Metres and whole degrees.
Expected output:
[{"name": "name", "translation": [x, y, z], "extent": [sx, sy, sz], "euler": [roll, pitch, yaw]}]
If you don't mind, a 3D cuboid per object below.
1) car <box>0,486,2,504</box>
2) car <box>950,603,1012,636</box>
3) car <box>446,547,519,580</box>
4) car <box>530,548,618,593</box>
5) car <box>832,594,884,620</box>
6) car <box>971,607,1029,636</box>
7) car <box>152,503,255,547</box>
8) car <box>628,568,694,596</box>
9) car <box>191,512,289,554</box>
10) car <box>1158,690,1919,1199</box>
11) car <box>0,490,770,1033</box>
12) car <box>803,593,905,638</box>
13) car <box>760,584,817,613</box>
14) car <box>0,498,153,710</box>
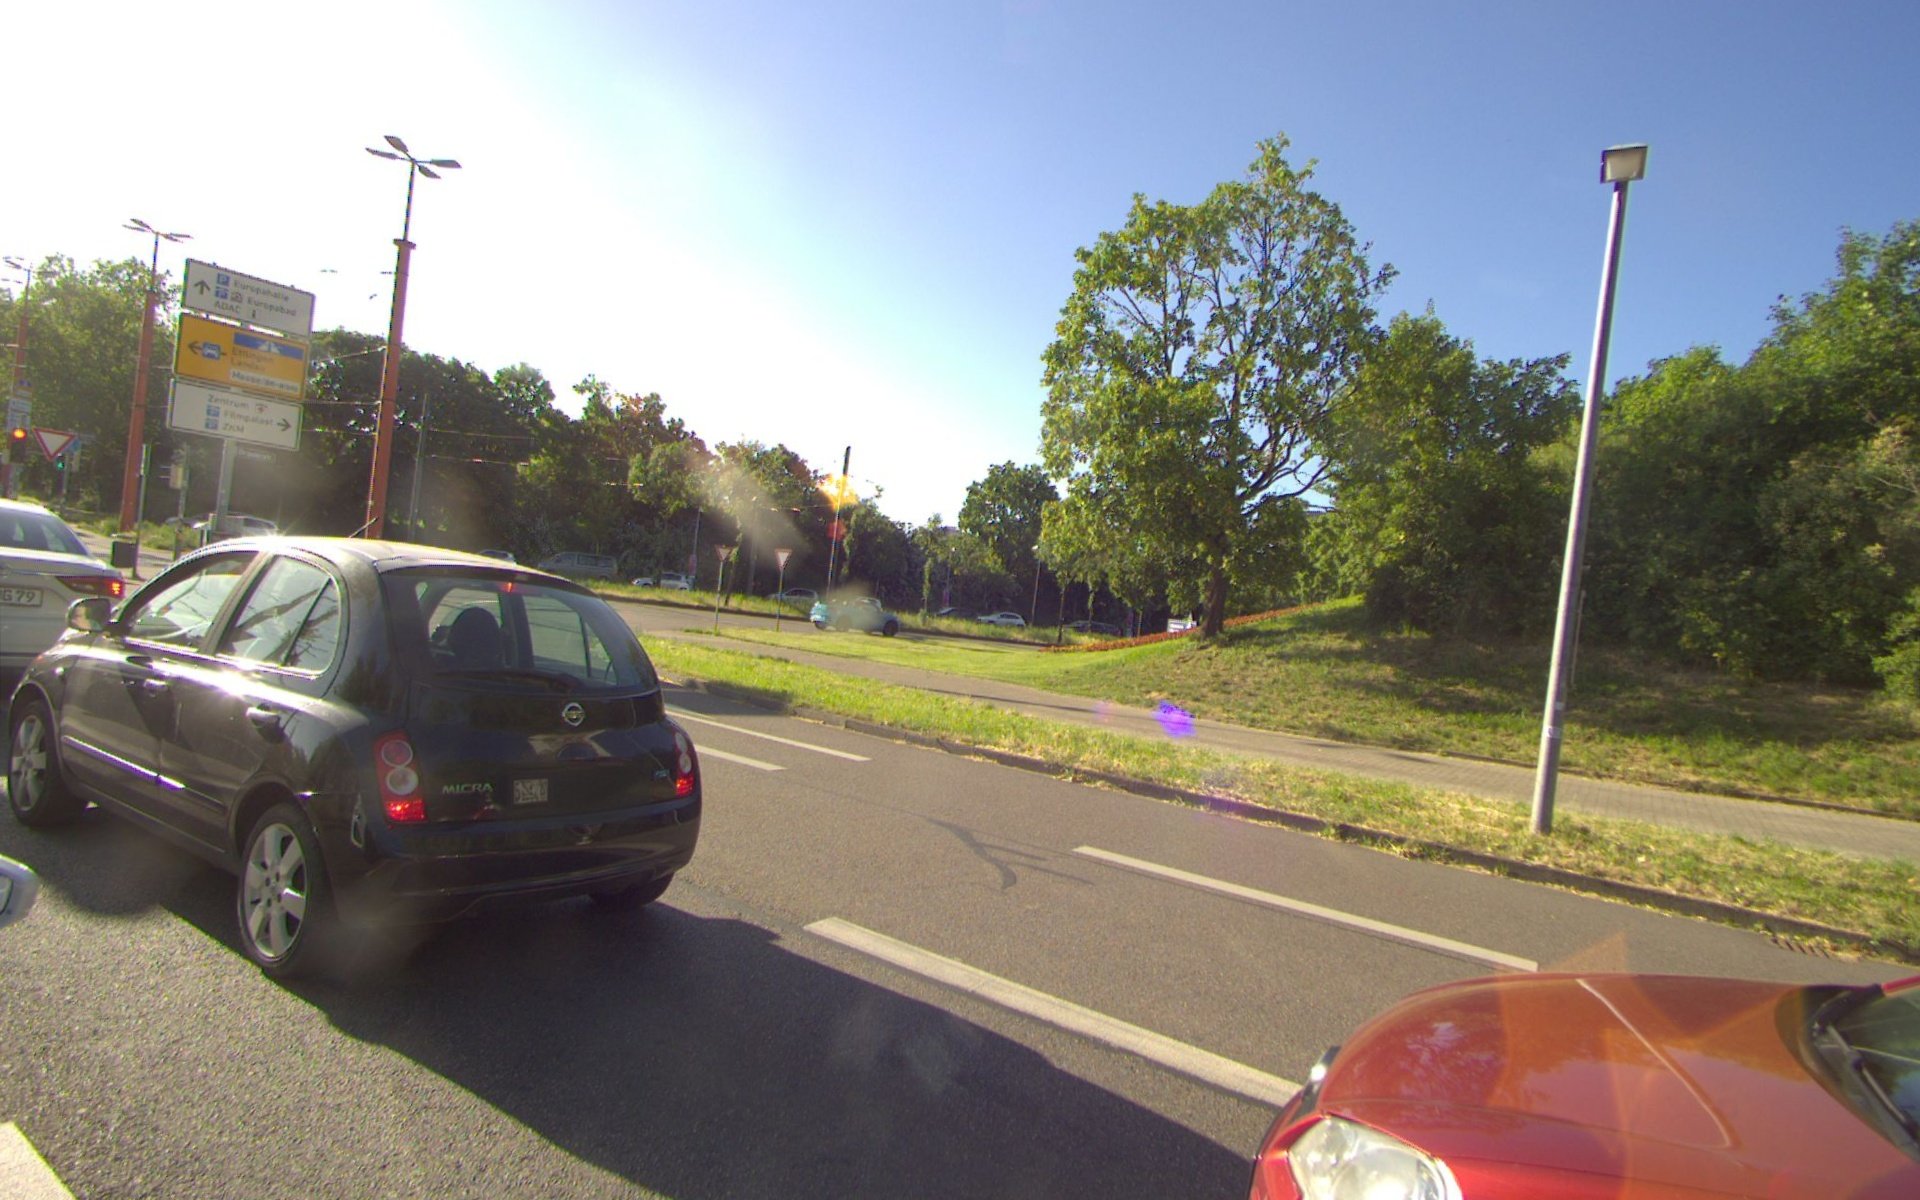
[{"name": "car", "translation": [-46.612, -4.769, 45.665], "extent": [4.089, 1.617, 1.814], "euler": [8, -1, -31]}, {"name": "car", "translation": [1.532, 1.418, 73.091], "extent": [3.960, 1.776, 1.903], "euler": [9, -2, -31]}, {"name": "car", "translation": [-28.570, -2.174, 60.204], "extent": [3.710, 1.491, 1.587], "euler": [8, -1, -32]}, {"name": "car", "translation": [-23.051, -1.768, 60.065], "extent": [4.533, 2.038, 1.986], "euler": [8, -1, -28]}, {"name": "car", "translation": [-7.419, 0.514, 73.212], "extent": [3.409, 1.384, 1.282], "euler": [9, -2, -28]}, {"name": "car", "translation": [3.151, 1.679, 79.220], "extent": [4.195, 1.701, 1.690], "euler": [8, -1, -29]}, {"name": "car", "translation": [-40.469, -3.987, 53.950], "extent": [4.090, 1.663, 1.838], "euler": [8, -1, -31]}, {"name": "car", "translation": [-19.542, -1.186, 65.808], "extent": [3.804, 1.278, 1.590], "euler": [9, -3, -32]}, {"name": "car", "translation": [-36.782, -3.407, 51.514], "extent": [3.792, 1.541, 1.682], "euler": [8, -1, -31]}, {"name": "car", "translation": [2.295, 1.111, 1.269], "extent": [3.700, 1.455, 1.644], "euler": [6, -2, 33]}, {"name": "car", "translation": [-2.857, 0.467, 4.708], "extent": [3.555, 1.518, 1.657], "euler": [7, -2, 32]}, {"name": "car", "translation": [-4.554, 0.687, 43.604], "extent": [4.105, 1.469, 1.717], "euler": [7, 2, -44]}, {"name": "car", "translation": [-11.389, -0.073, 66.869], "extent": [3.371, 1.475, 1.452], "euler": [8, -1, -32]}, {"name": "car", "translation": [-8.362, -0.174, 8.025], "extent": [4.130, 1.454, 1.723], "euler": [7, -1, 33]}]
